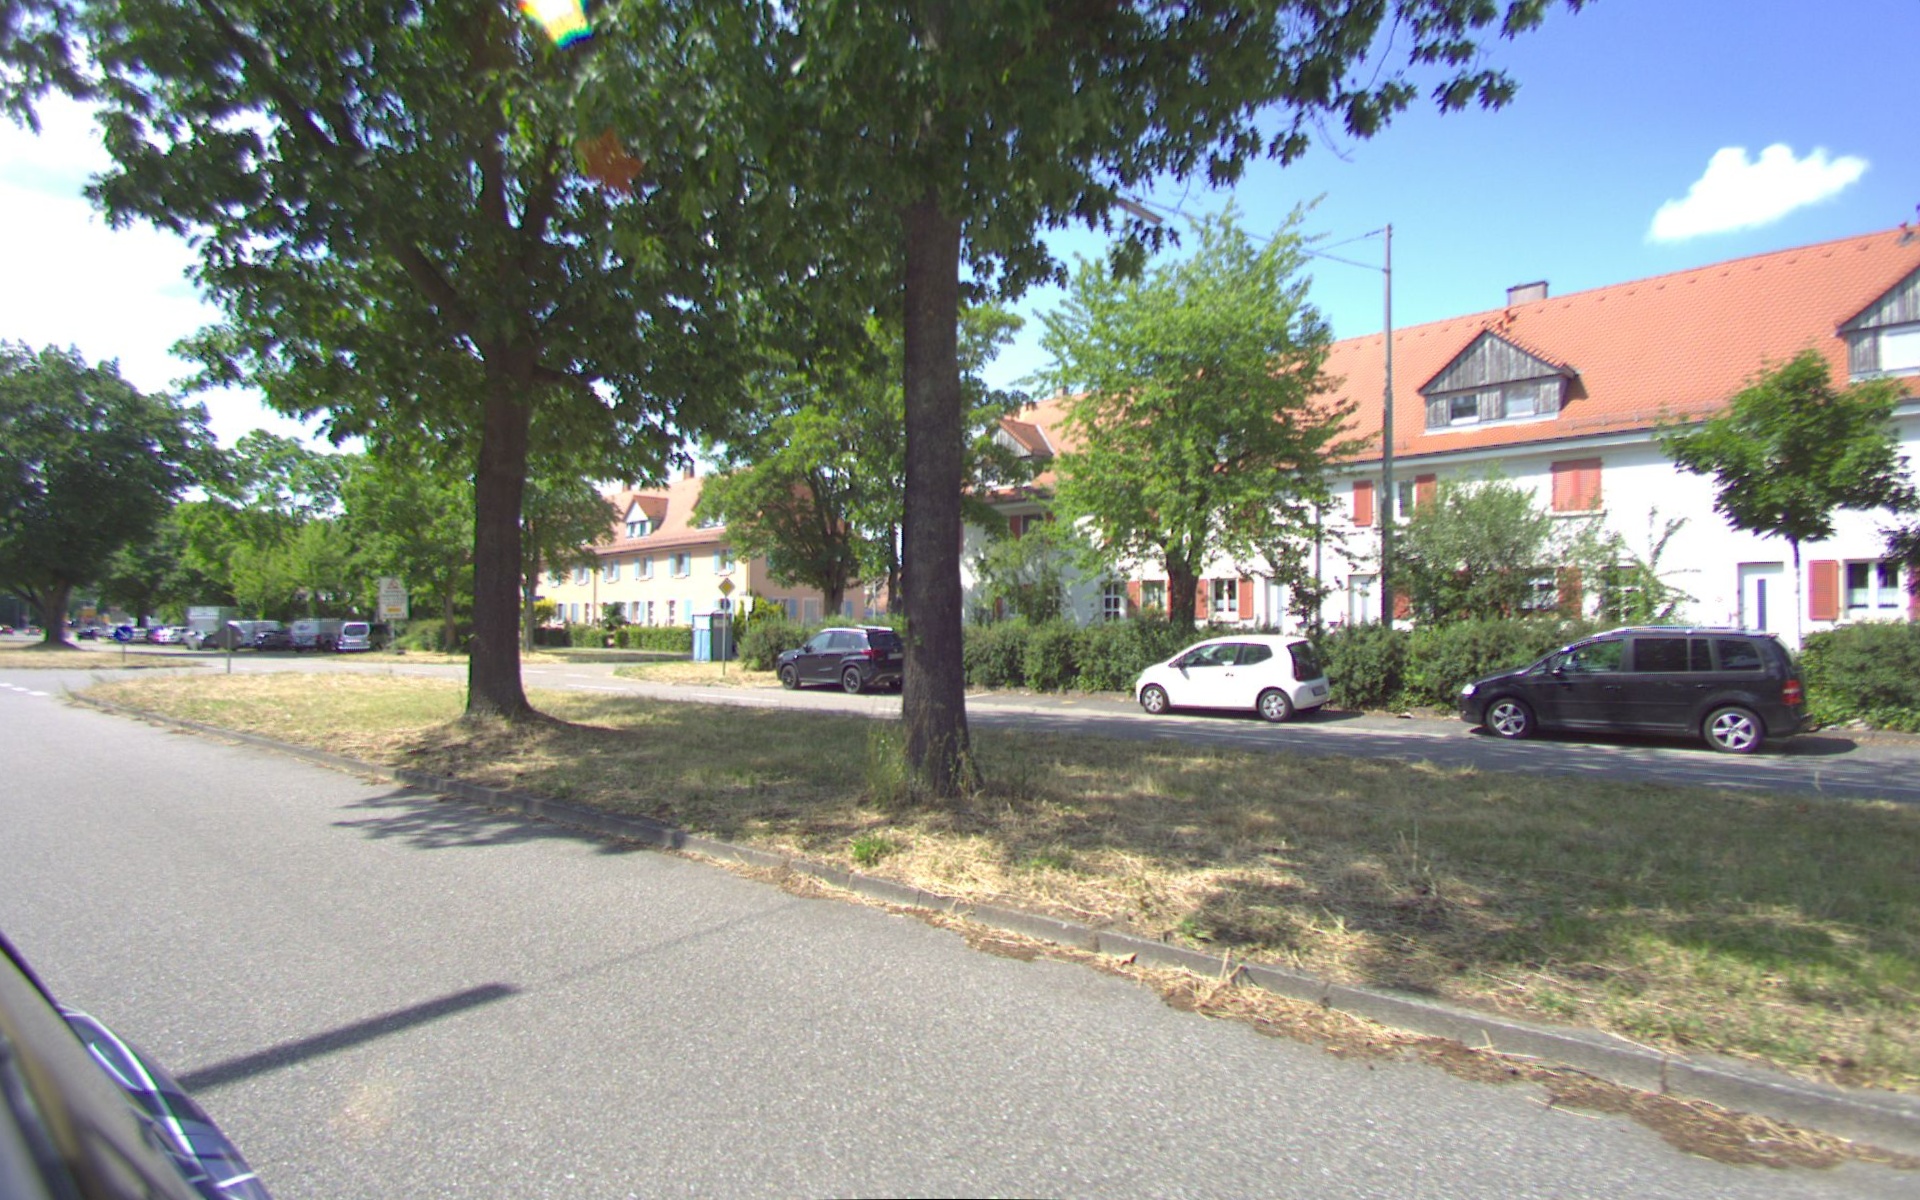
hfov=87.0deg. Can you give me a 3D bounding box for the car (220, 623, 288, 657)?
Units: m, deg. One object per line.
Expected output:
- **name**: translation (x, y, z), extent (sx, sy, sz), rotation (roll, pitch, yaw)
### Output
- **car**: translation (-47.192, 2.641, 67.736), extent (1.779, 2.029, 4.002), rotation (-1, 0, -2)

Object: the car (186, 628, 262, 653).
- **car**: translation (-51.326, 2.776, 70.623), extent (1.799, 1.521, 3.945), rotation (-1, 0, 42)

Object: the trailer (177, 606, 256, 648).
- **trailer**: translation (-58.884, 2.107, 80.284), extent (2.782, 3.132, 5.766), rotation (-2, 0, -11)

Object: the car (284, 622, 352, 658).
- **car**: translation (-39.780, 2.429, 62.801), extent (1.779, 2.029, 4.002), rotation (-1, 0, -2)

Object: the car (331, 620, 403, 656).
- **car**: translation (-32.936, 2.097, 56.329), extent (1.779, 1.874, 4.001), rotation (-1, -1, -2)

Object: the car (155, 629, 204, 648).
- **car**: translation (-67.140, 3.309, 87.119), extent (1.646, 1.475, 3.826), rotation (-1, 0, -7)

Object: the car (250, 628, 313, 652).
- **car**: translation (-44.543, 2.592, 66.527), extent (1.550, 1.408, 4.002), rotation (-1, 0, -2)

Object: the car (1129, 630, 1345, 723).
- **car**: translation (5.104, 1.350, 18.845), extent (3.533, 1.472, 1.577), rotation (-1, 0, 41)

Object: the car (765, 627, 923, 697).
- **car**: translation (-3.011, 1.529, 25.890), extent (3.997, 1.563, 1.749), rotation (-1, 0, 41)

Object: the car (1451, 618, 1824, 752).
- **car**: translation (9.663, 1.098, 14.667), extent (4.312, 1.624, 1.643), rotation (-1, 0, 41)
